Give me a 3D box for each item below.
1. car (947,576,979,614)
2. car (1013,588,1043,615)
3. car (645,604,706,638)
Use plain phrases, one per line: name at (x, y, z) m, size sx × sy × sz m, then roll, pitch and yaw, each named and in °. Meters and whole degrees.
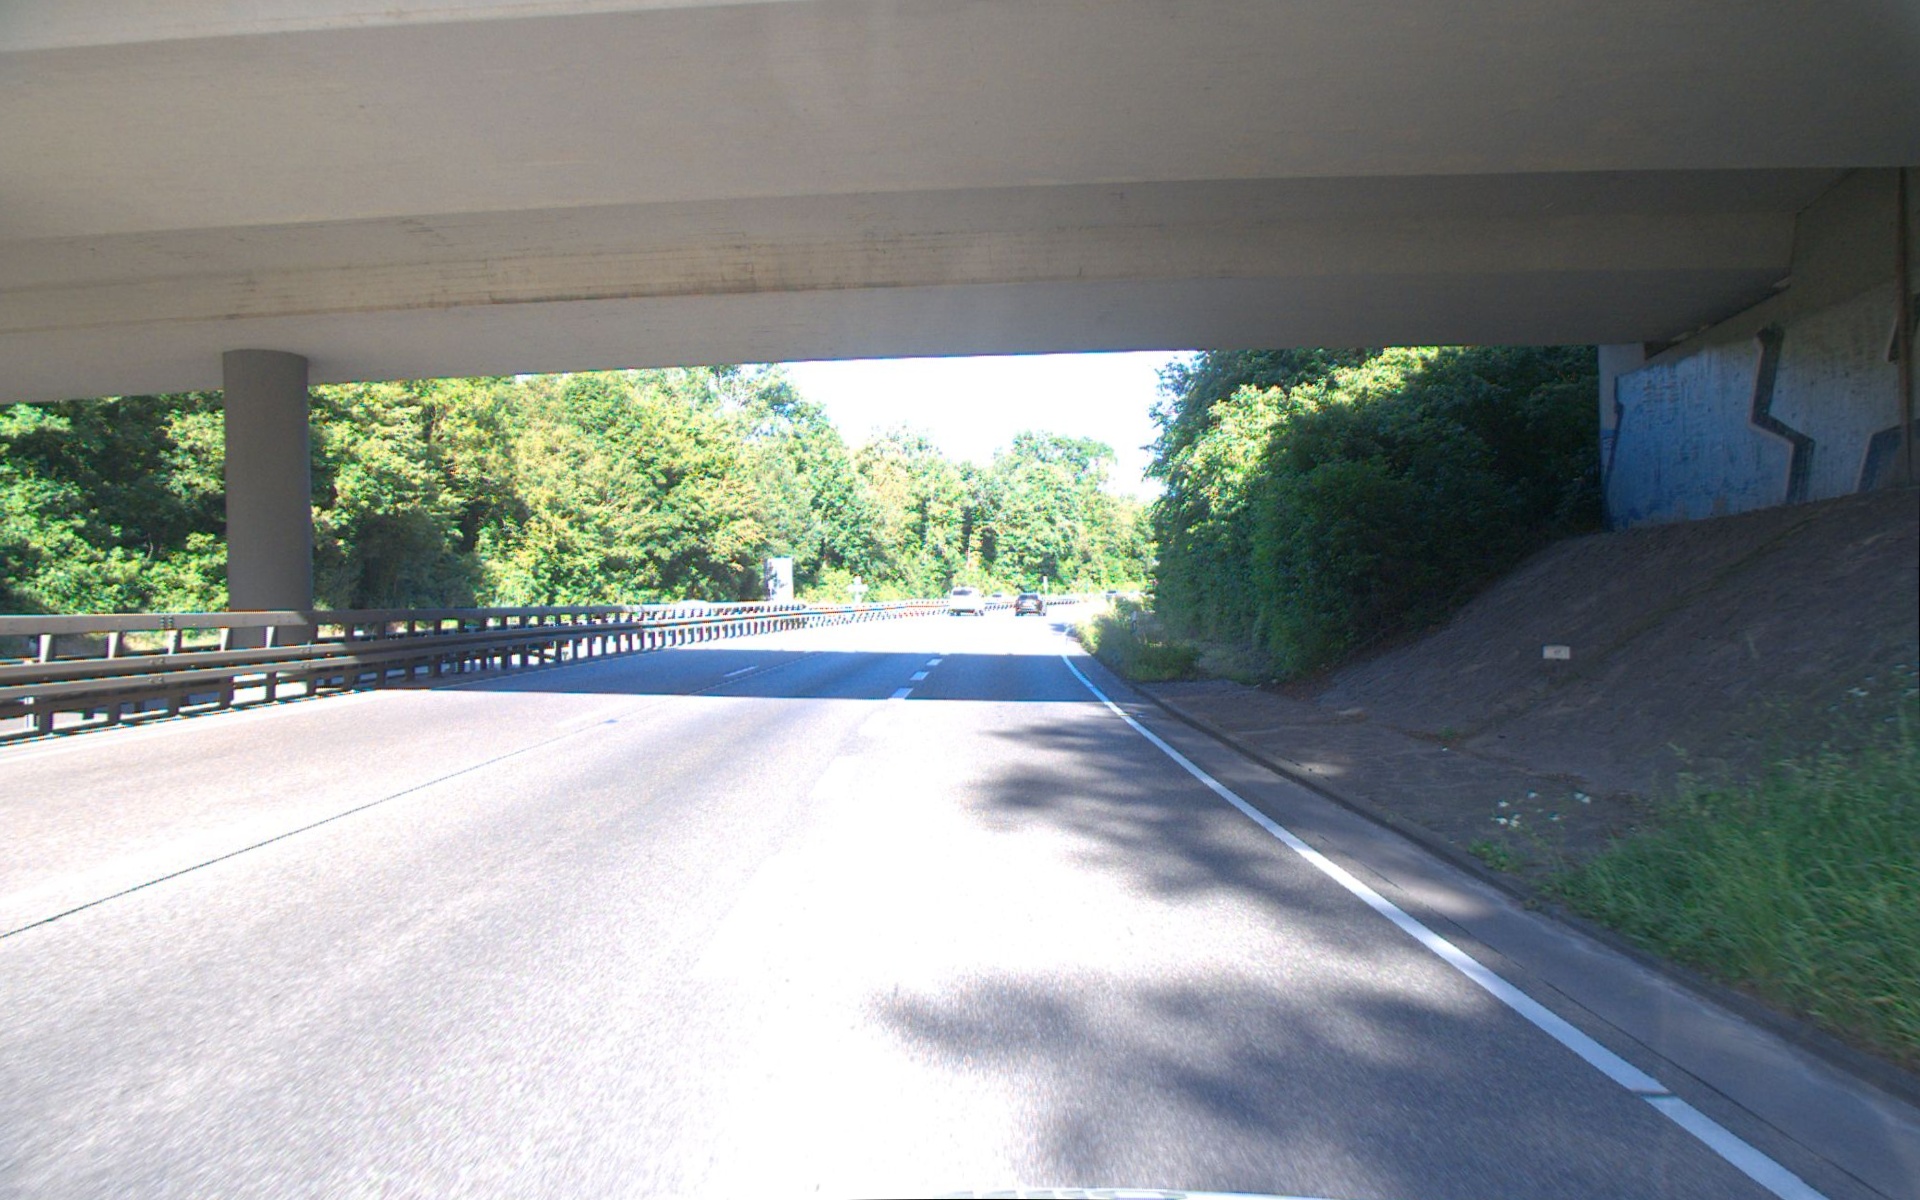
car at (0.194, -0.305, 105.374) m, size 1.952 × 2.317 × 4.000 m, roll -1°, pitch 0°, yaw 0°
car at (4.495, 0.104, 108.725) m, size 1.702 × 1.691 × 3.948 m, roll -1°, pitch 0°, yaw 6°
car at (-14.238, 1.027, 82.977) m, size 1.952 × 1.622 × 4.730 m, roll 1°, pitch 0°, yaw 4°
